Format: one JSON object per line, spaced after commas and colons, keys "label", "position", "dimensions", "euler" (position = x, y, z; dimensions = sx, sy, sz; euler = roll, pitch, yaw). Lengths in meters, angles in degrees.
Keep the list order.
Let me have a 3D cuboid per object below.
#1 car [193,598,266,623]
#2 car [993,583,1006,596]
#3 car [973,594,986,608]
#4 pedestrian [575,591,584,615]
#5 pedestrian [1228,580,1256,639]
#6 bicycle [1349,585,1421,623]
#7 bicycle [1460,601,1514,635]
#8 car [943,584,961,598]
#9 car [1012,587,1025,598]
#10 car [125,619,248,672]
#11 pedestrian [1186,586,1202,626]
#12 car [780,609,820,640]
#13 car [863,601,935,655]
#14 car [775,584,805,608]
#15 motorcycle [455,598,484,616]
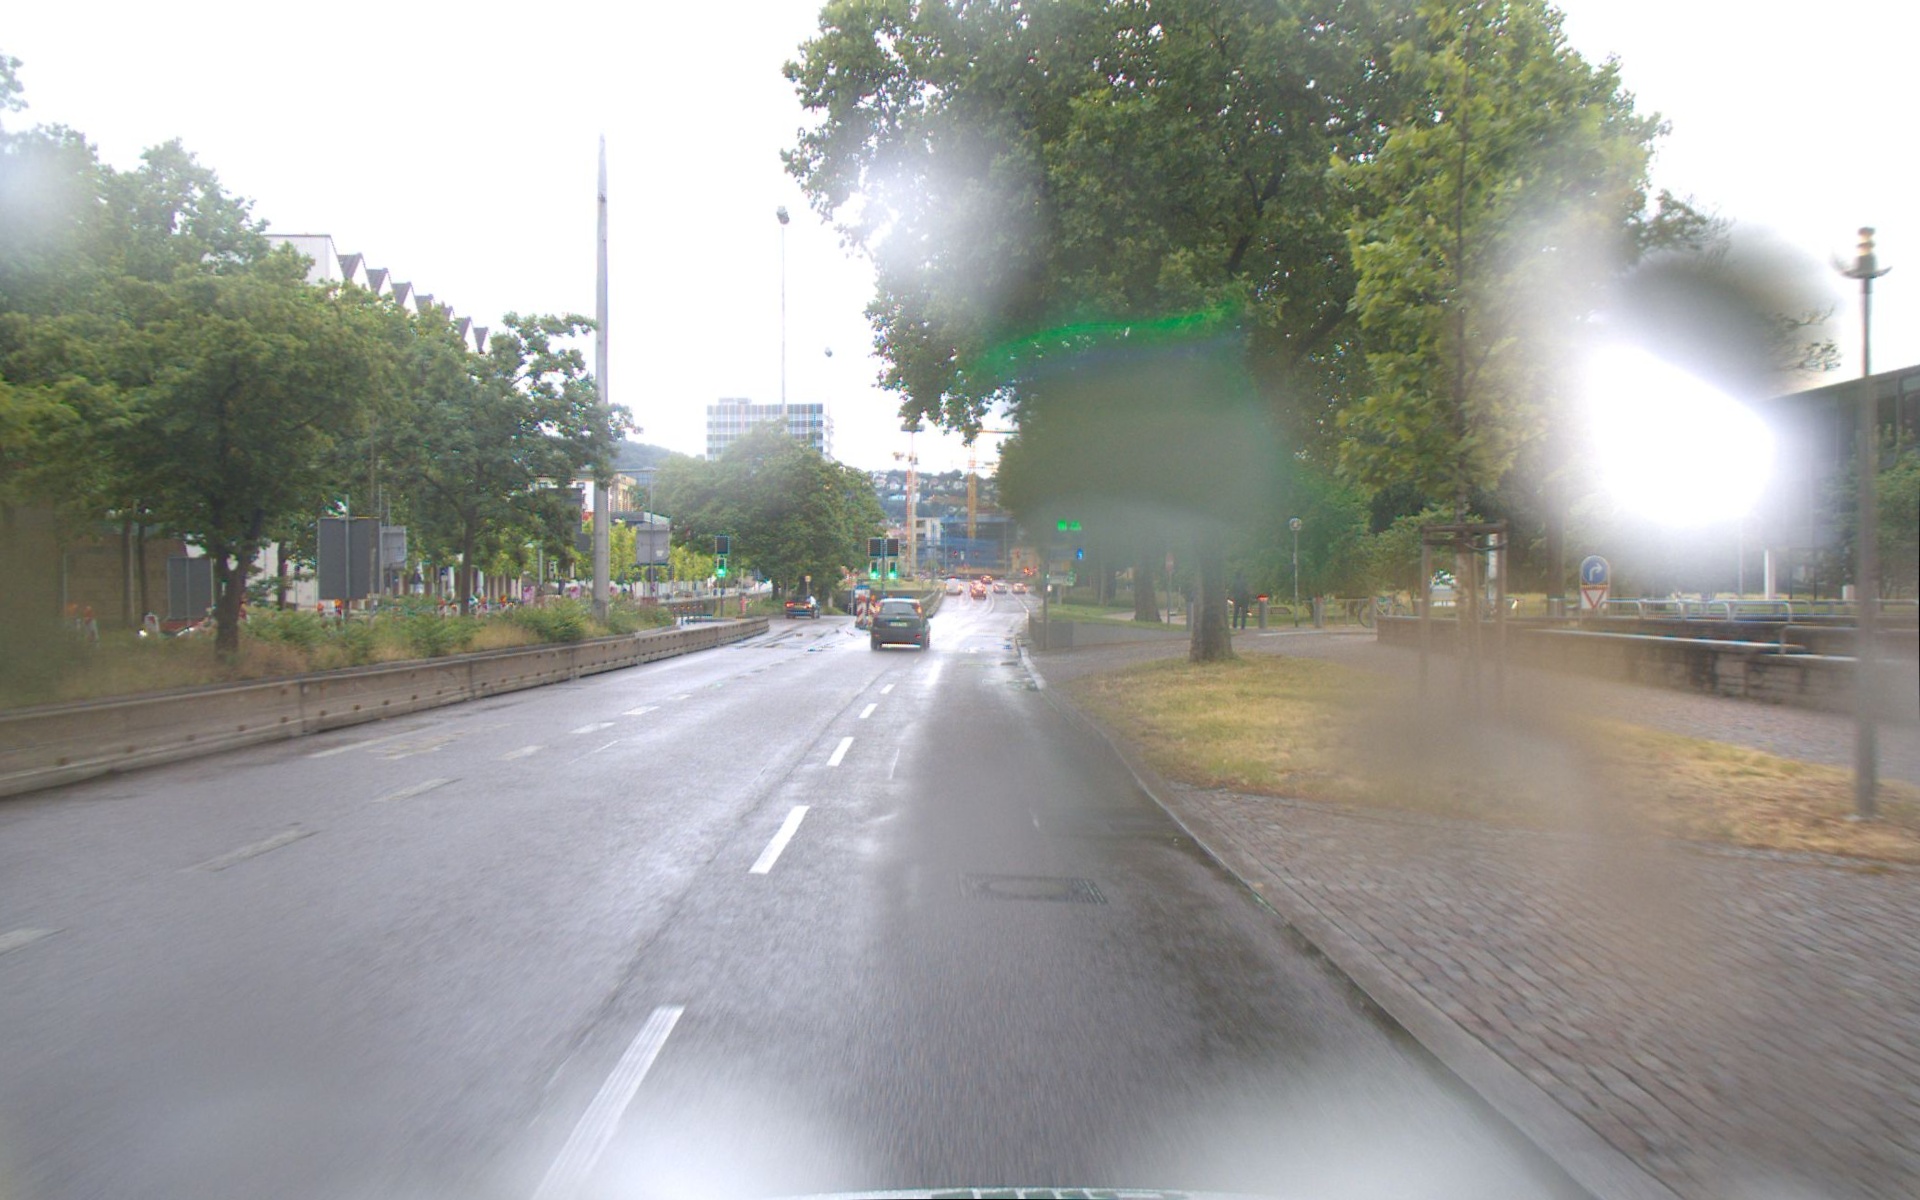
{"label": "car", "position": [-47.784, 0.658, 108.266], "dimensions": [3.907, 1.624, 1.999], "euler": [0, 0, -2]}
{"label": "car", "position": [6.123, -1.643, 256.357], "dimensions": [1.946, 2.049, 4.001], "euler": [0, 0, 1]}
{"label": "car", "position": [2.578, 0.126, 221.339], "dimensions": [1.703, 1.802, 4.000], "euler": [-2, -1, 0]}
{"label": "pedestrian", "position": [-33.036, 0.230, 143.604], "dimensions": [0.535, 2.049, 0.524], "euler": [-1, 1, -35]}
{"label": "pedestrian", "position": [8.565, 0.292, 50.196], "dimensions": [0.690, 1.748, 0.692], "euler": [-2, 0, 0]}
{"label": "bicycle", "position": [13.496, 0.117, 52.518], "dimensions": [1.997, 1.194, 0.957], "euler": [0, 1, -11]}
{"label": "bicycle", "position": [17.921, 0.602, 56.246], "dimensions": [1.609, 1.104, 0.709], "euler": [-1, 1, -6]}
{"label": "car", "position": [-1.150, -1.272, 240.119], "dimensions": [2.172, 2.049, 4.003], "euler": [0, 0, 6]}
{"label": "car", "position": [9.144, -1.225, 259.000], "dimensions": [1.952, 1.627, 4.001], "euler": [-2, -1, 3]}
{"label": "car", "position": [-24.626, 1.412, 52.810], "dimensions": [1.952, 1.557, 4.000], "euler": [-2, -1, 1]}
{"label": "pedestrian", "position": [10.770, 0.267, 76.159], "dimensions": [0.582, 1.786, 0.725], "euler": [-2, 1, -2]}
{"label": "car", "position": [-9.732, 1.470, 101.118], "dimensions": [1.952, 1.812, 4.001], "euler": [-1, 1, 1]}
{"label": "car", "position": [-1.821, 0.806, 48.141], "dimensions": [1.808, 1.441, 3.834], "euler": [-2, -1, -6]}
{"label": "car", "position": [-11.663, -0.268, 113.480], "dimensions": [1.954, 1.661, 3.996], "euler": [0, 0, -4]}
{"label": "motorcycle", "position": [-32.478, 0.477, 109.535], "dimensions": [1.812, 1.174, 0.423], "euler": [-1, 0, -28]}
